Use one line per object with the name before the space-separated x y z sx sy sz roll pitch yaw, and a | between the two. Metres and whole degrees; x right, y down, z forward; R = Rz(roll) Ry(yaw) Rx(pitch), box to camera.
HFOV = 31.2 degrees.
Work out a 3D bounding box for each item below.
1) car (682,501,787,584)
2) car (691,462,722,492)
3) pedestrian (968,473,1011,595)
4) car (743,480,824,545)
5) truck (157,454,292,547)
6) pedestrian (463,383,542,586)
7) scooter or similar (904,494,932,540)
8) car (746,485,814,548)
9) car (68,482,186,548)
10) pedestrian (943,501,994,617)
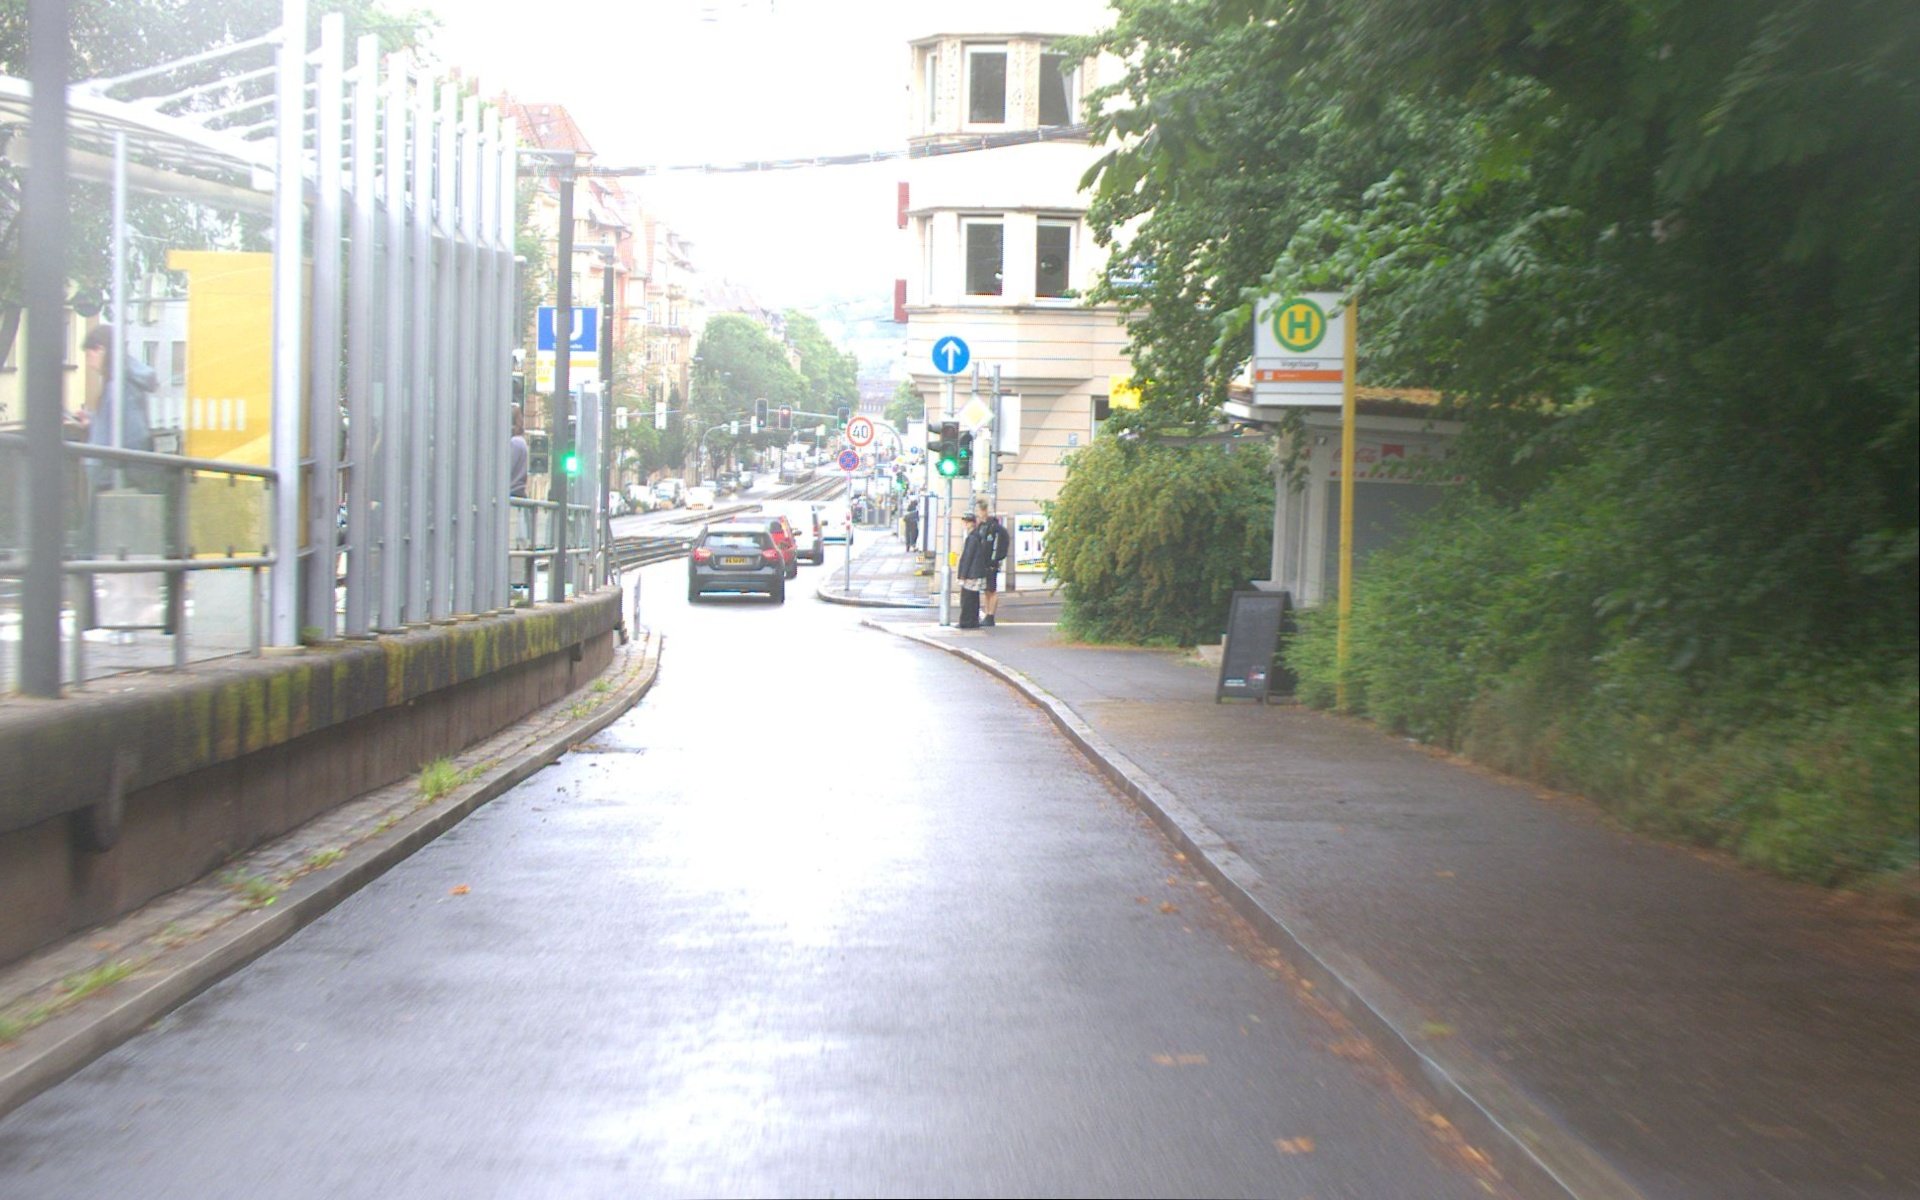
car | -4.181 -1.099 64.181 1.851 1.468 4.001 0 2 -2
car | -17.627 -8.553 238.990 1.993 2.006 4.347 0 2 -2
pedestrian | 0.438 -0.984 51.212 0.553 1.807 0.651 1 1 -4
car | -4.213 -2.089 82.137 1.851 1.468 4.001 1 1 -3
truck | -19.730 -2.658 92.537 2.051 2.384 6.321 1 1 2
pedestrian | -4.147 -1.045 31.191 0.589 1.801 0.661 2 1 -2
scooter or similar | -1.483 -2.913 120.893 0.918 1.598 0.863 0 2 -5
car | -5.310 -2.465 101.612 1.948 1.786 4.145 1 1 -3
car | -19.918 -2.052 82.386 1.726 1.510 4.496 0 2 0
pedestrian | 0.122 -0.611 50.583 0.695 1.689 0.556 1 1 -4
